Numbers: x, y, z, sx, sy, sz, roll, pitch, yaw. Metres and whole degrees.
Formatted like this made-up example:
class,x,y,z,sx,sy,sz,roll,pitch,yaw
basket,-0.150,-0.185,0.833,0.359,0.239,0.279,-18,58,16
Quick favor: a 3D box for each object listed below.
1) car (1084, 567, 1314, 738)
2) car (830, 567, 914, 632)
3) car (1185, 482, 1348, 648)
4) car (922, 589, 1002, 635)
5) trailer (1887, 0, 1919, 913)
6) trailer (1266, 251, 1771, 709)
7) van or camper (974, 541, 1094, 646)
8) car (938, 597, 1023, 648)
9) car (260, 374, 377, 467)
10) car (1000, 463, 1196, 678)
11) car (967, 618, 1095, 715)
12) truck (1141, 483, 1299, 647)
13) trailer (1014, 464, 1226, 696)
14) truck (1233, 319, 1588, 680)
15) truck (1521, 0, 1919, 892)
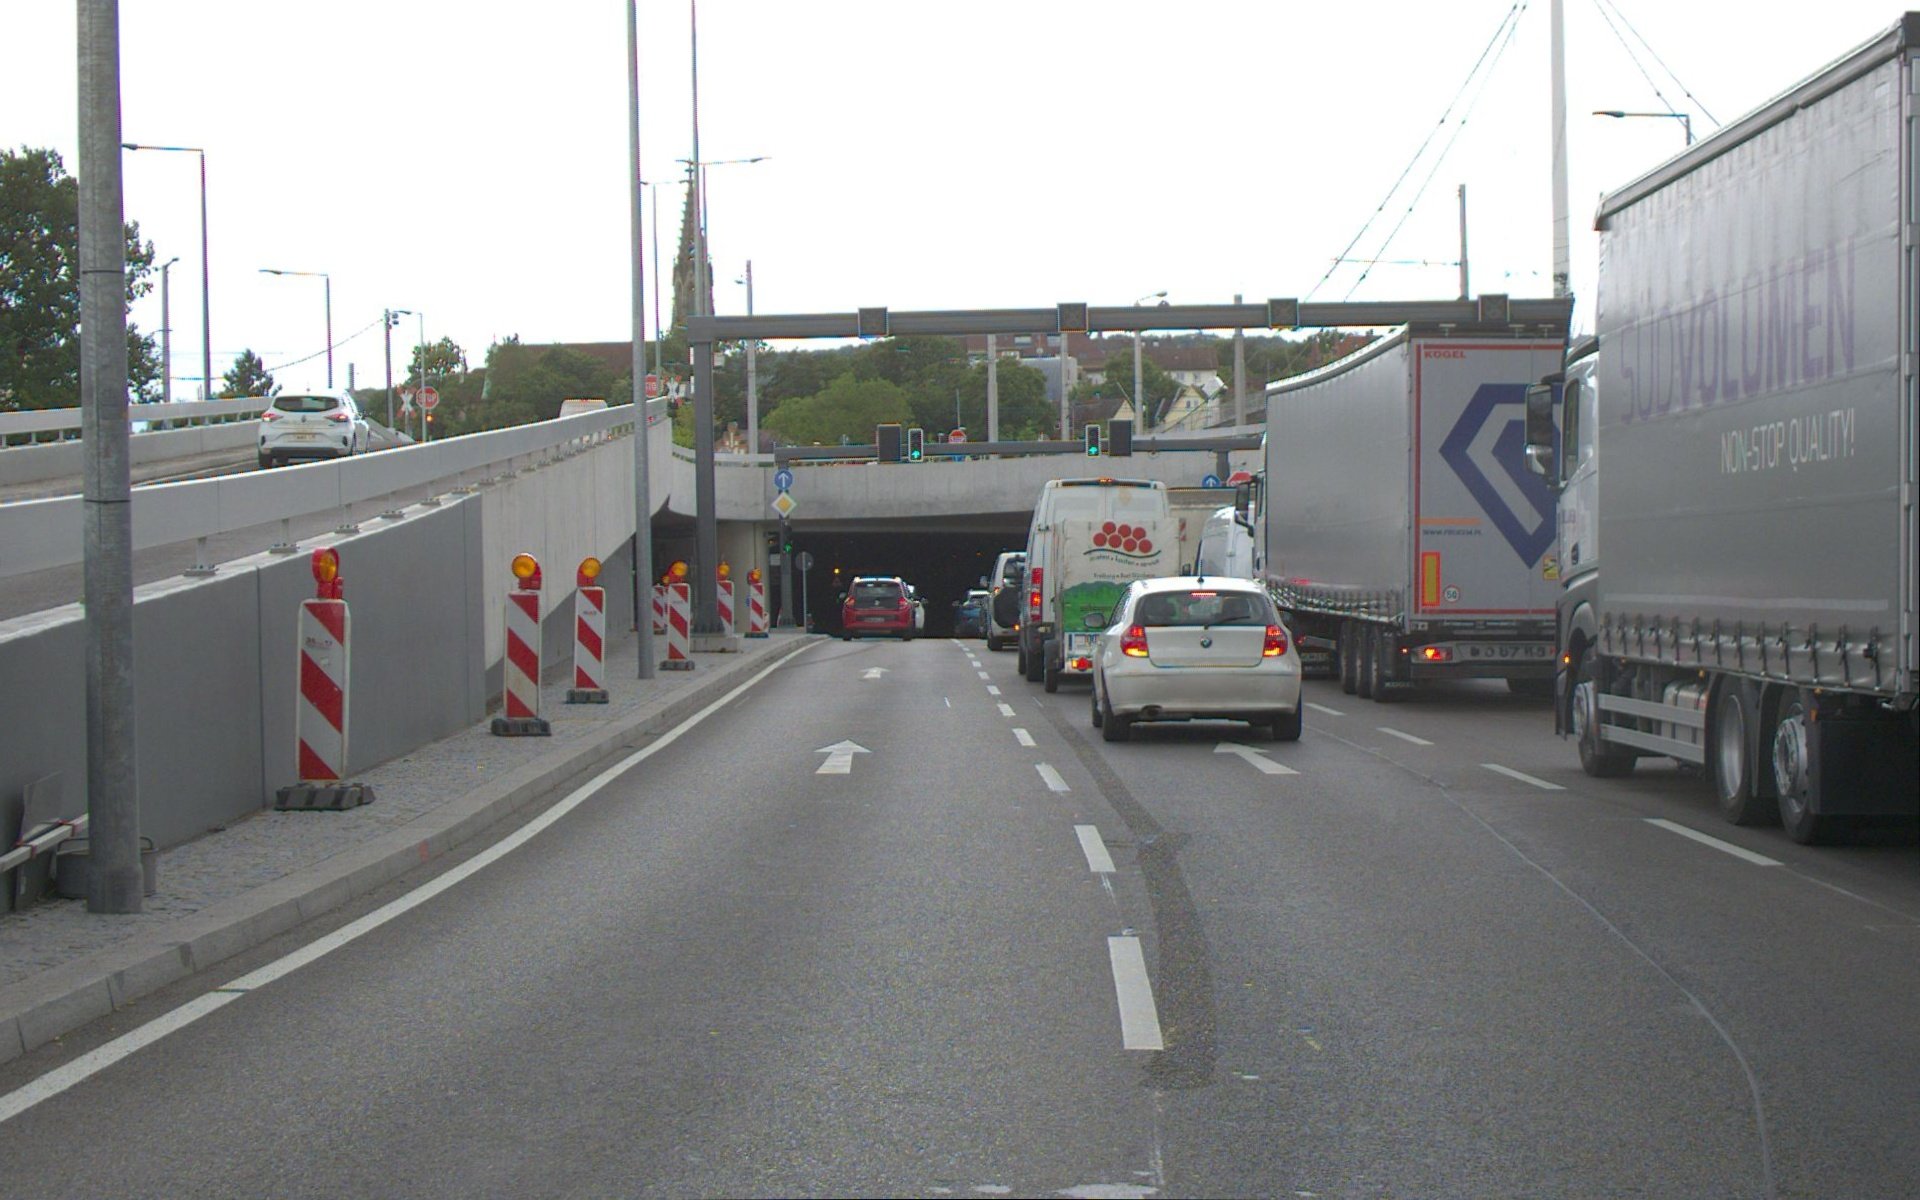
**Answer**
class,x,y,z,sx,sy,sz,roll,pitch,yaw
car,2.100,0.441,31.215,1.716,1.393,4.347,2,0,0
car,-2.139,0.004,83.035,1.660,1.483,3.567,-1,-1,-7
car,5.402,-0.642,61.605,2.075,2.764,7.327,1,1,-1
car,0.044,0.362,108.581,1.993,1.382,4.001,0,1,-8
trailer,5.955,-0.650,9.978,3.724,4.127,10.983,1,0,1
trailer,6.235,-1.269,41.117,3.805,4.615,12.114,1,0,-1
van or camper,1.372,-0.087,65.928,1.993,1.839,5.508,0,-2,-2
car,0.509,0.591,89.604,1.663,1.243,3.567,-1,-1,-9
car,-11.779,-3.275,63.277,1.743,1.428,3.776,3,0,-6
car,1.783,-0.366,46.542,2.058,2.619,5.943,3,0,-2
car,1.197,1.126,59.573,1.681,1.539,3.693,1,1,-7
truck,5.288,-0.670,71.094,2.649,3.174,7.426,-1,0,0
trailer,1.921,-0.232,42.884,2.103,2.630,4.810,3,0,-2
truck,6.112,-1.326,48.089,3.805,4.615,7.443,1,0,-1
truck,6.131,-0.766,20.951,3.724,4.127,10.983,1,0,1
